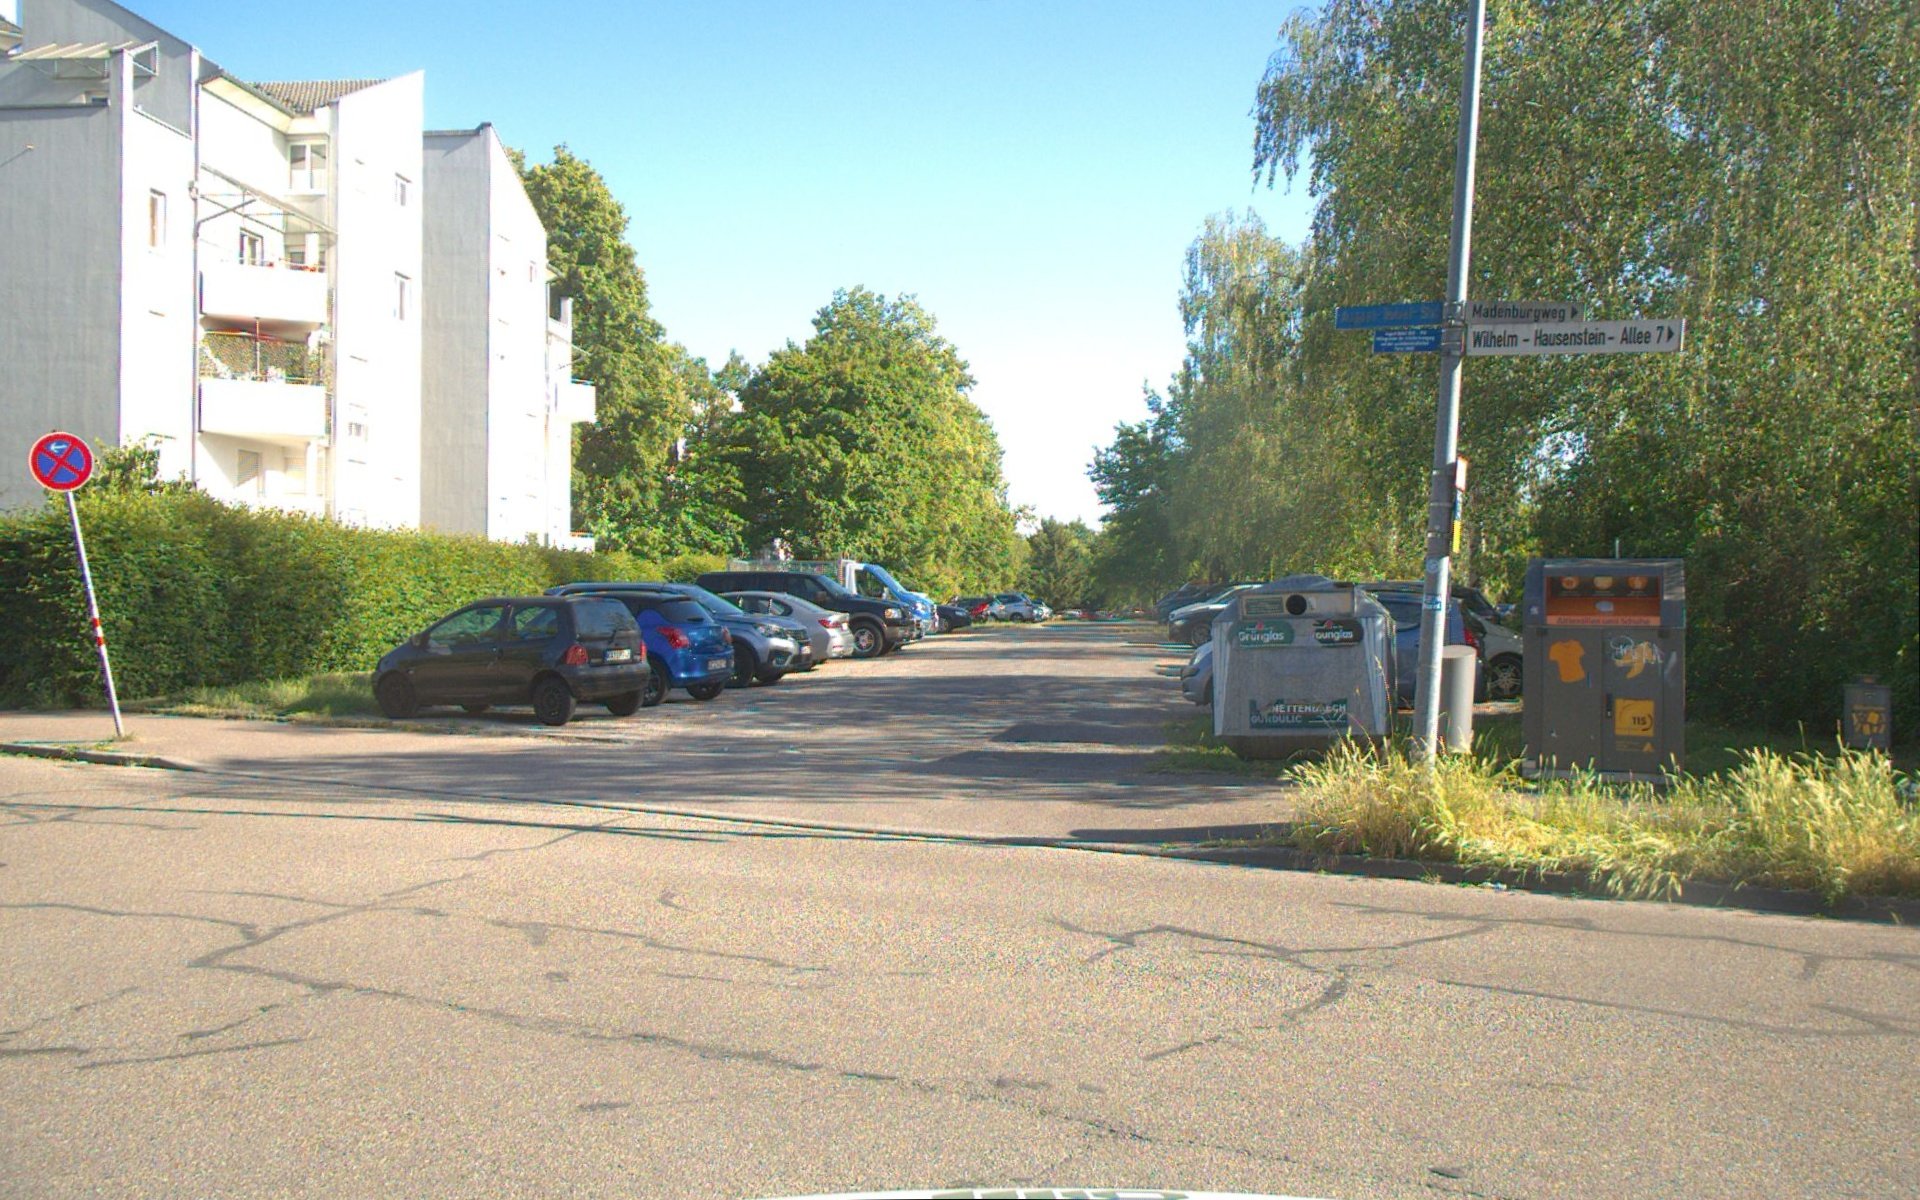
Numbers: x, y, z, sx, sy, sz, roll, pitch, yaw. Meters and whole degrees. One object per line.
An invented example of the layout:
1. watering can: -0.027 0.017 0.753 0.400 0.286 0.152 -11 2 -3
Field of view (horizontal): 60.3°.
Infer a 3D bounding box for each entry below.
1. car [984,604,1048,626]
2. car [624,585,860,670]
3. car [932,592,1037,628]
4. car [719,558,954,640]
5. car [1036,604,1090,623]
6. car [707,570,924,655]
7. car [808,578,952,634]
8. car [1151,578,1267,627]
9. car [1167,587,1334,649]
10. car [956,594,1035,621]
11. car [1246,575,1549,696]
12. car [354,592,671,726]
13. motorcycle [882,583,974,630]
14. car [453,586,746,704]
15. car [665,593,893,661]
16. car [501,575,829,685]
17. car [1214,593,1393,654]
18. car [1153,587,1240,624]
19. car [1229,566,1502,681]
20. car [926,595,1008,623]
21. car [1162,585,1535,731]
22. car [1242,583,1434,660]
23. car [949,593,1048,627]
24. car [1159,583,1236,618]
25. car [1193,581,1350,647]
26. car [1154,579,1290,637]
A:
1. car: 3.526 0.954 103.896 3.856 1.357 1.848 0 0 6
2. car: -4.001 0.503 30.654 4.056 1.480 1.620 -1 0 4
3. car: 0.950 0.383 63.353 3.856 1.357 1.848 0 0 6
4. car: -3.333 -0.038 45.589 6.124 2.184 2.412 0 0 5
5. car: 7.050 0.898 112.886 3.567 1.234 1.848 0 0 6
6. car: -3.166 0.257 36.598 4.425 1.802 1.849 0 0 12
7. car: -2.584 0.185 53.874 4.426 1.802 1.848 0 0 8
8. car: 8.685 0.087 57.634 3.902 1.613 1.799 1 0 10
9. car: 7.062 0.430 40.302 3.902 1.425 1.799 1 0 10
10. car: 1.835 0.367 84.156 3.856 1.357 1.848 0 0 6
11. car: 6.337 0.488 24.287 3.968 1.631 1.791 1 1 1
12. car: -5.476 0.659 20.258 3.451 1.492 1.703 1 1 24
13. motorcycle: -1.105 0.225 57.910 3.123 1.624 0.924 0 0 8
14. car: -4.946 0.598 22.742 3.603 1.523 1.651 -1 0 20
15. car: -3.711 0.534 34.245 4.356 1.358 1.849 0 0 9
16. car: -4.724 0.482 26.711 4.885 1.683 1.786 -1 0 12
17. car: 7.866 0.524 37.921 3.902 1.300 1.799 1 0 12
18. car: 10.911 0.265 76.333 3.902 1.613 1.799 1 0 10
19. car: 6.564 0.352 27.059 4.019 1.736 1.791 1 1 0
20. car: 0.347 0.431 81.020 3.856 1.357 1.848 0 0 6
21. car: 4.447 0.611 18.896 3.968 1.464 1.635 1 0 20
22. car: 8.094 0.454 35.551 3.902 1.530 1.950 1 0 12
23. car: 1.569 0.397 66.436 3.856 1.357 1.848 0 0 6
24. car: 12.364 0.031 85.979 3.902 1.738 1.799 1 0 10
25. car: 8.100 0.354 43.134 3.902 1.613 1.799 1 0 10
26. car: 7.793 0.231 49.193 3.902 1.613 1.799 1 0 10
